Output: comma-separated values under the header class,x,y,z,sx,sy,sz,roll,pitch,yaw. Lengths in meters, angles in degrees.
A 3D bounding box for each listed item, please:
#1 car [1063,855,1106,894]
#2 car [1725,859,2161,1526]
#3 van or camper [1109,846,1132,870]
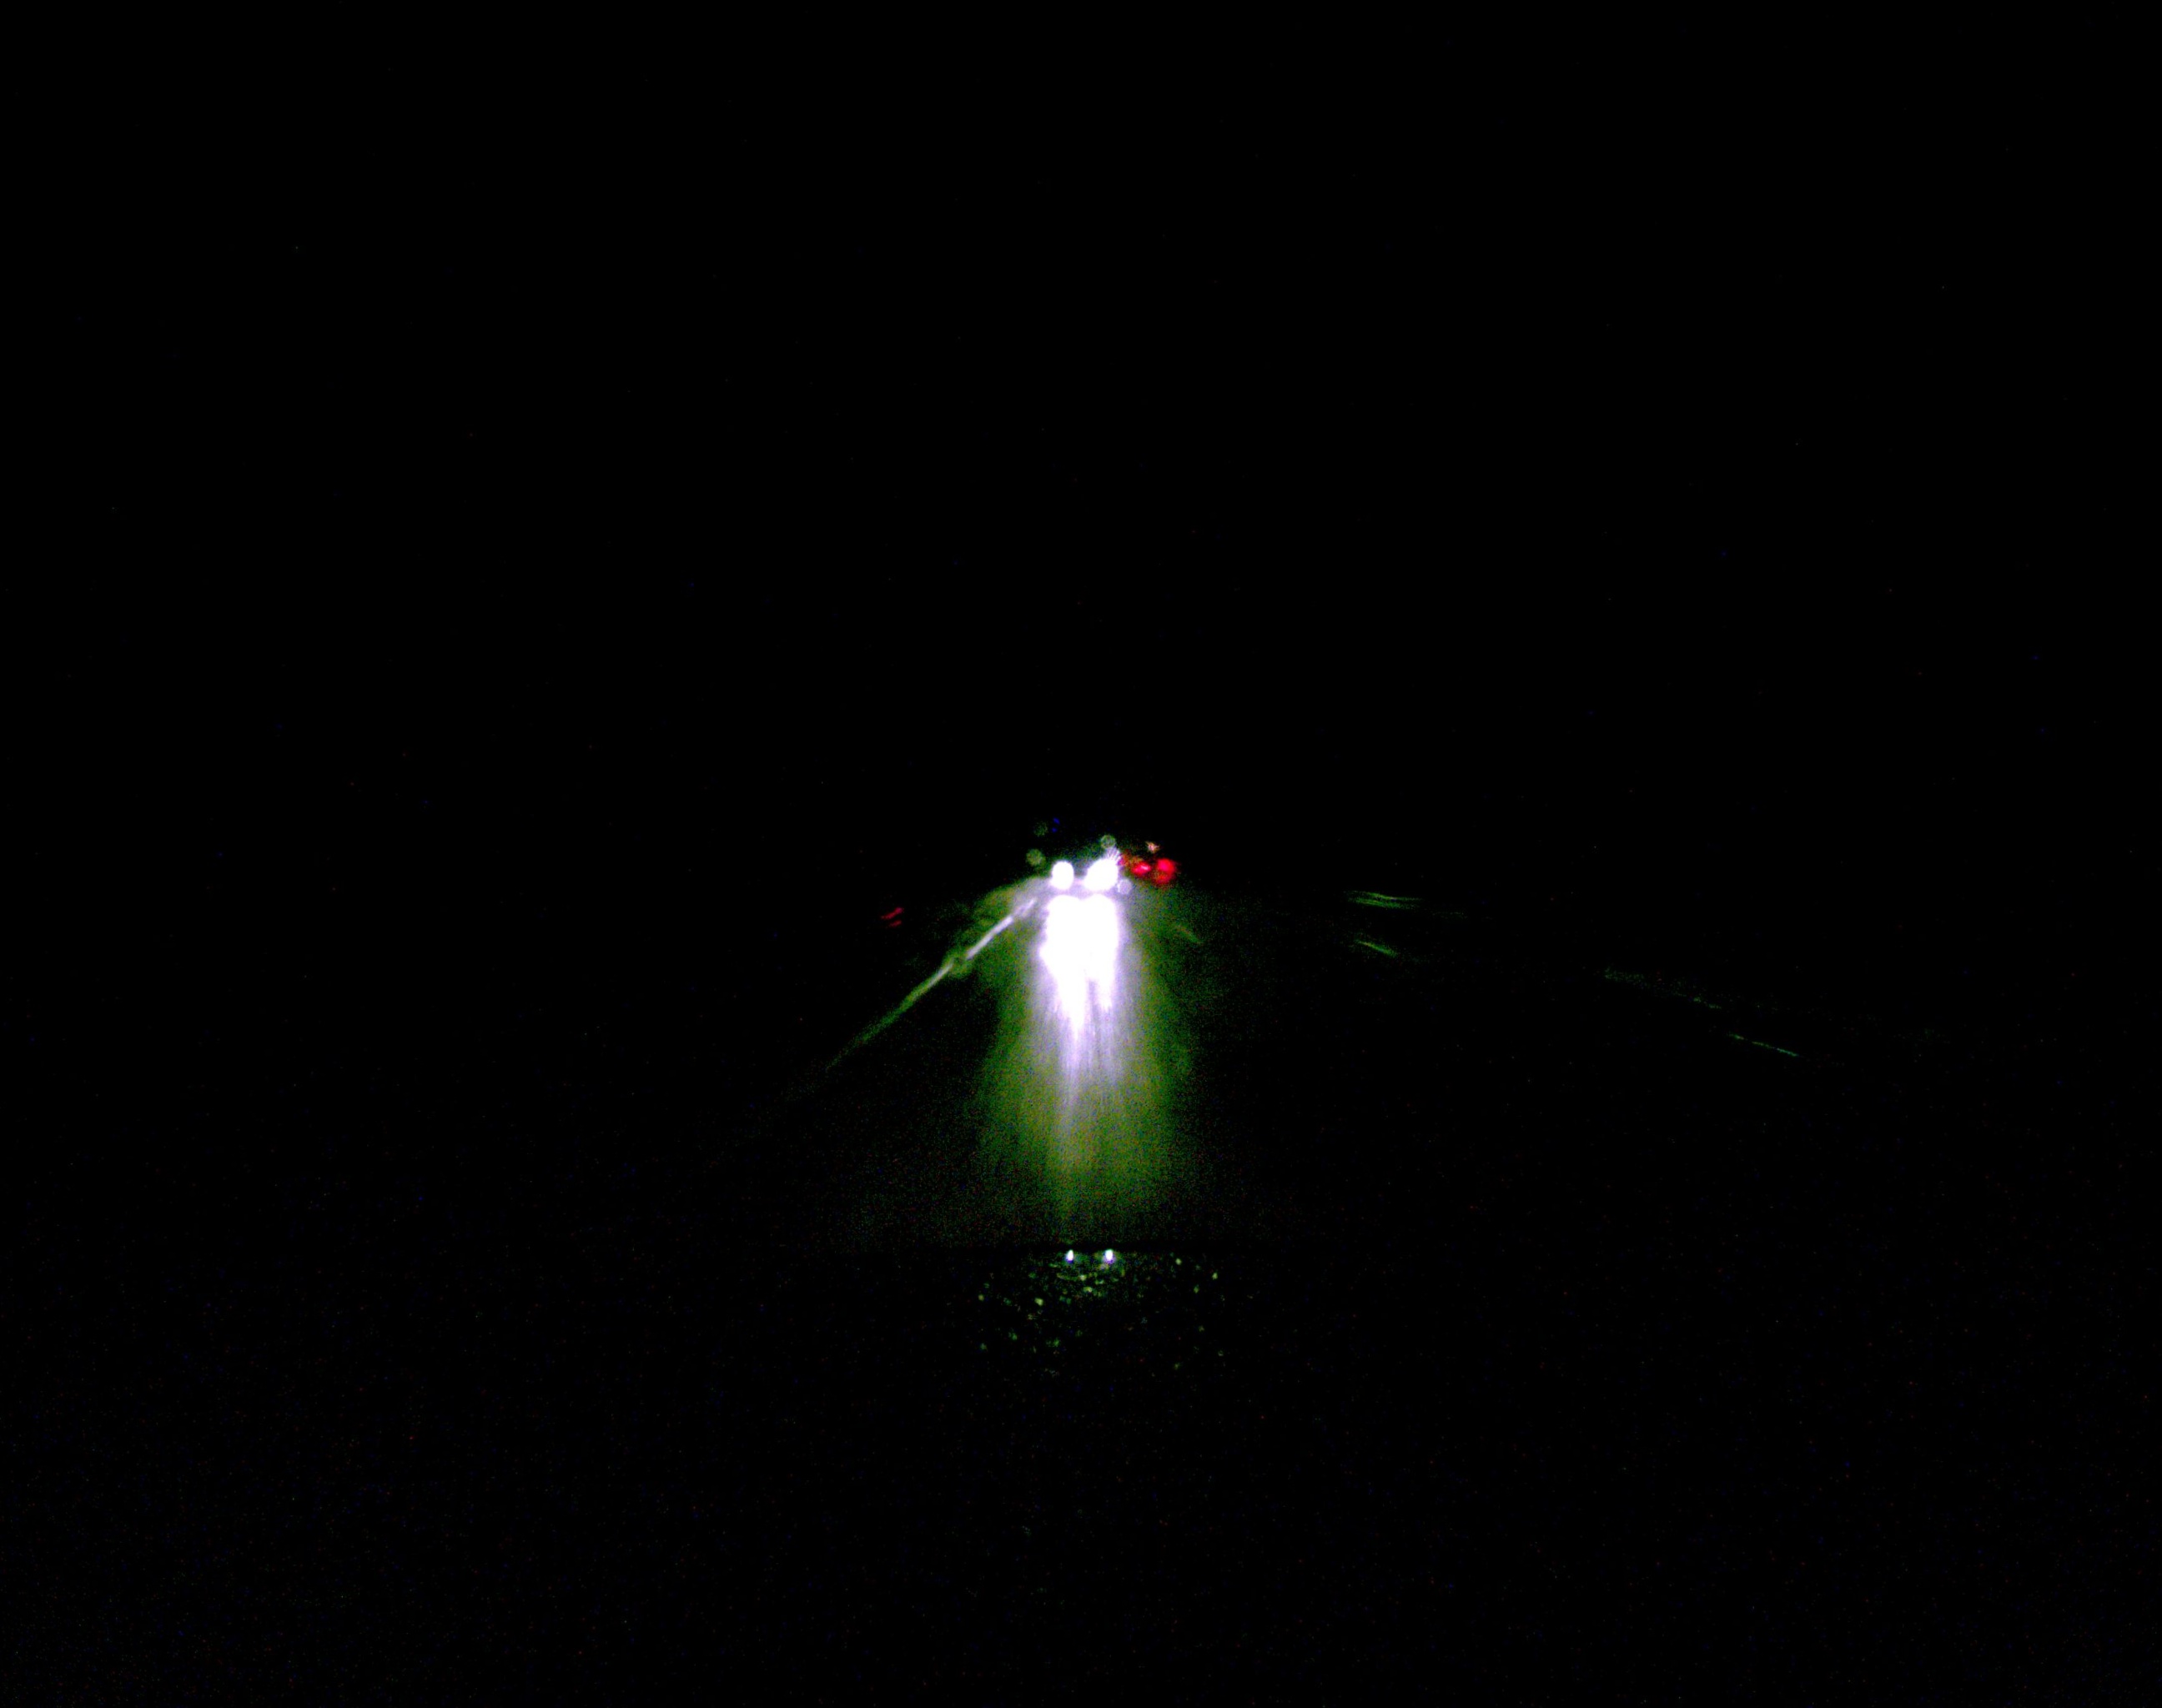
class,x,y,z,sx,sy,sz,roll,pitch,yaw
car,0.159,0.889,33.823,1.793,1.593,4.001,0,-1,0
car,3.544,0.835,0.900,1.809,1.618,4.406,1,0,0
van or camper,4.480,0.425,87.265,2.129,2.550,5.783,2,0,-1
